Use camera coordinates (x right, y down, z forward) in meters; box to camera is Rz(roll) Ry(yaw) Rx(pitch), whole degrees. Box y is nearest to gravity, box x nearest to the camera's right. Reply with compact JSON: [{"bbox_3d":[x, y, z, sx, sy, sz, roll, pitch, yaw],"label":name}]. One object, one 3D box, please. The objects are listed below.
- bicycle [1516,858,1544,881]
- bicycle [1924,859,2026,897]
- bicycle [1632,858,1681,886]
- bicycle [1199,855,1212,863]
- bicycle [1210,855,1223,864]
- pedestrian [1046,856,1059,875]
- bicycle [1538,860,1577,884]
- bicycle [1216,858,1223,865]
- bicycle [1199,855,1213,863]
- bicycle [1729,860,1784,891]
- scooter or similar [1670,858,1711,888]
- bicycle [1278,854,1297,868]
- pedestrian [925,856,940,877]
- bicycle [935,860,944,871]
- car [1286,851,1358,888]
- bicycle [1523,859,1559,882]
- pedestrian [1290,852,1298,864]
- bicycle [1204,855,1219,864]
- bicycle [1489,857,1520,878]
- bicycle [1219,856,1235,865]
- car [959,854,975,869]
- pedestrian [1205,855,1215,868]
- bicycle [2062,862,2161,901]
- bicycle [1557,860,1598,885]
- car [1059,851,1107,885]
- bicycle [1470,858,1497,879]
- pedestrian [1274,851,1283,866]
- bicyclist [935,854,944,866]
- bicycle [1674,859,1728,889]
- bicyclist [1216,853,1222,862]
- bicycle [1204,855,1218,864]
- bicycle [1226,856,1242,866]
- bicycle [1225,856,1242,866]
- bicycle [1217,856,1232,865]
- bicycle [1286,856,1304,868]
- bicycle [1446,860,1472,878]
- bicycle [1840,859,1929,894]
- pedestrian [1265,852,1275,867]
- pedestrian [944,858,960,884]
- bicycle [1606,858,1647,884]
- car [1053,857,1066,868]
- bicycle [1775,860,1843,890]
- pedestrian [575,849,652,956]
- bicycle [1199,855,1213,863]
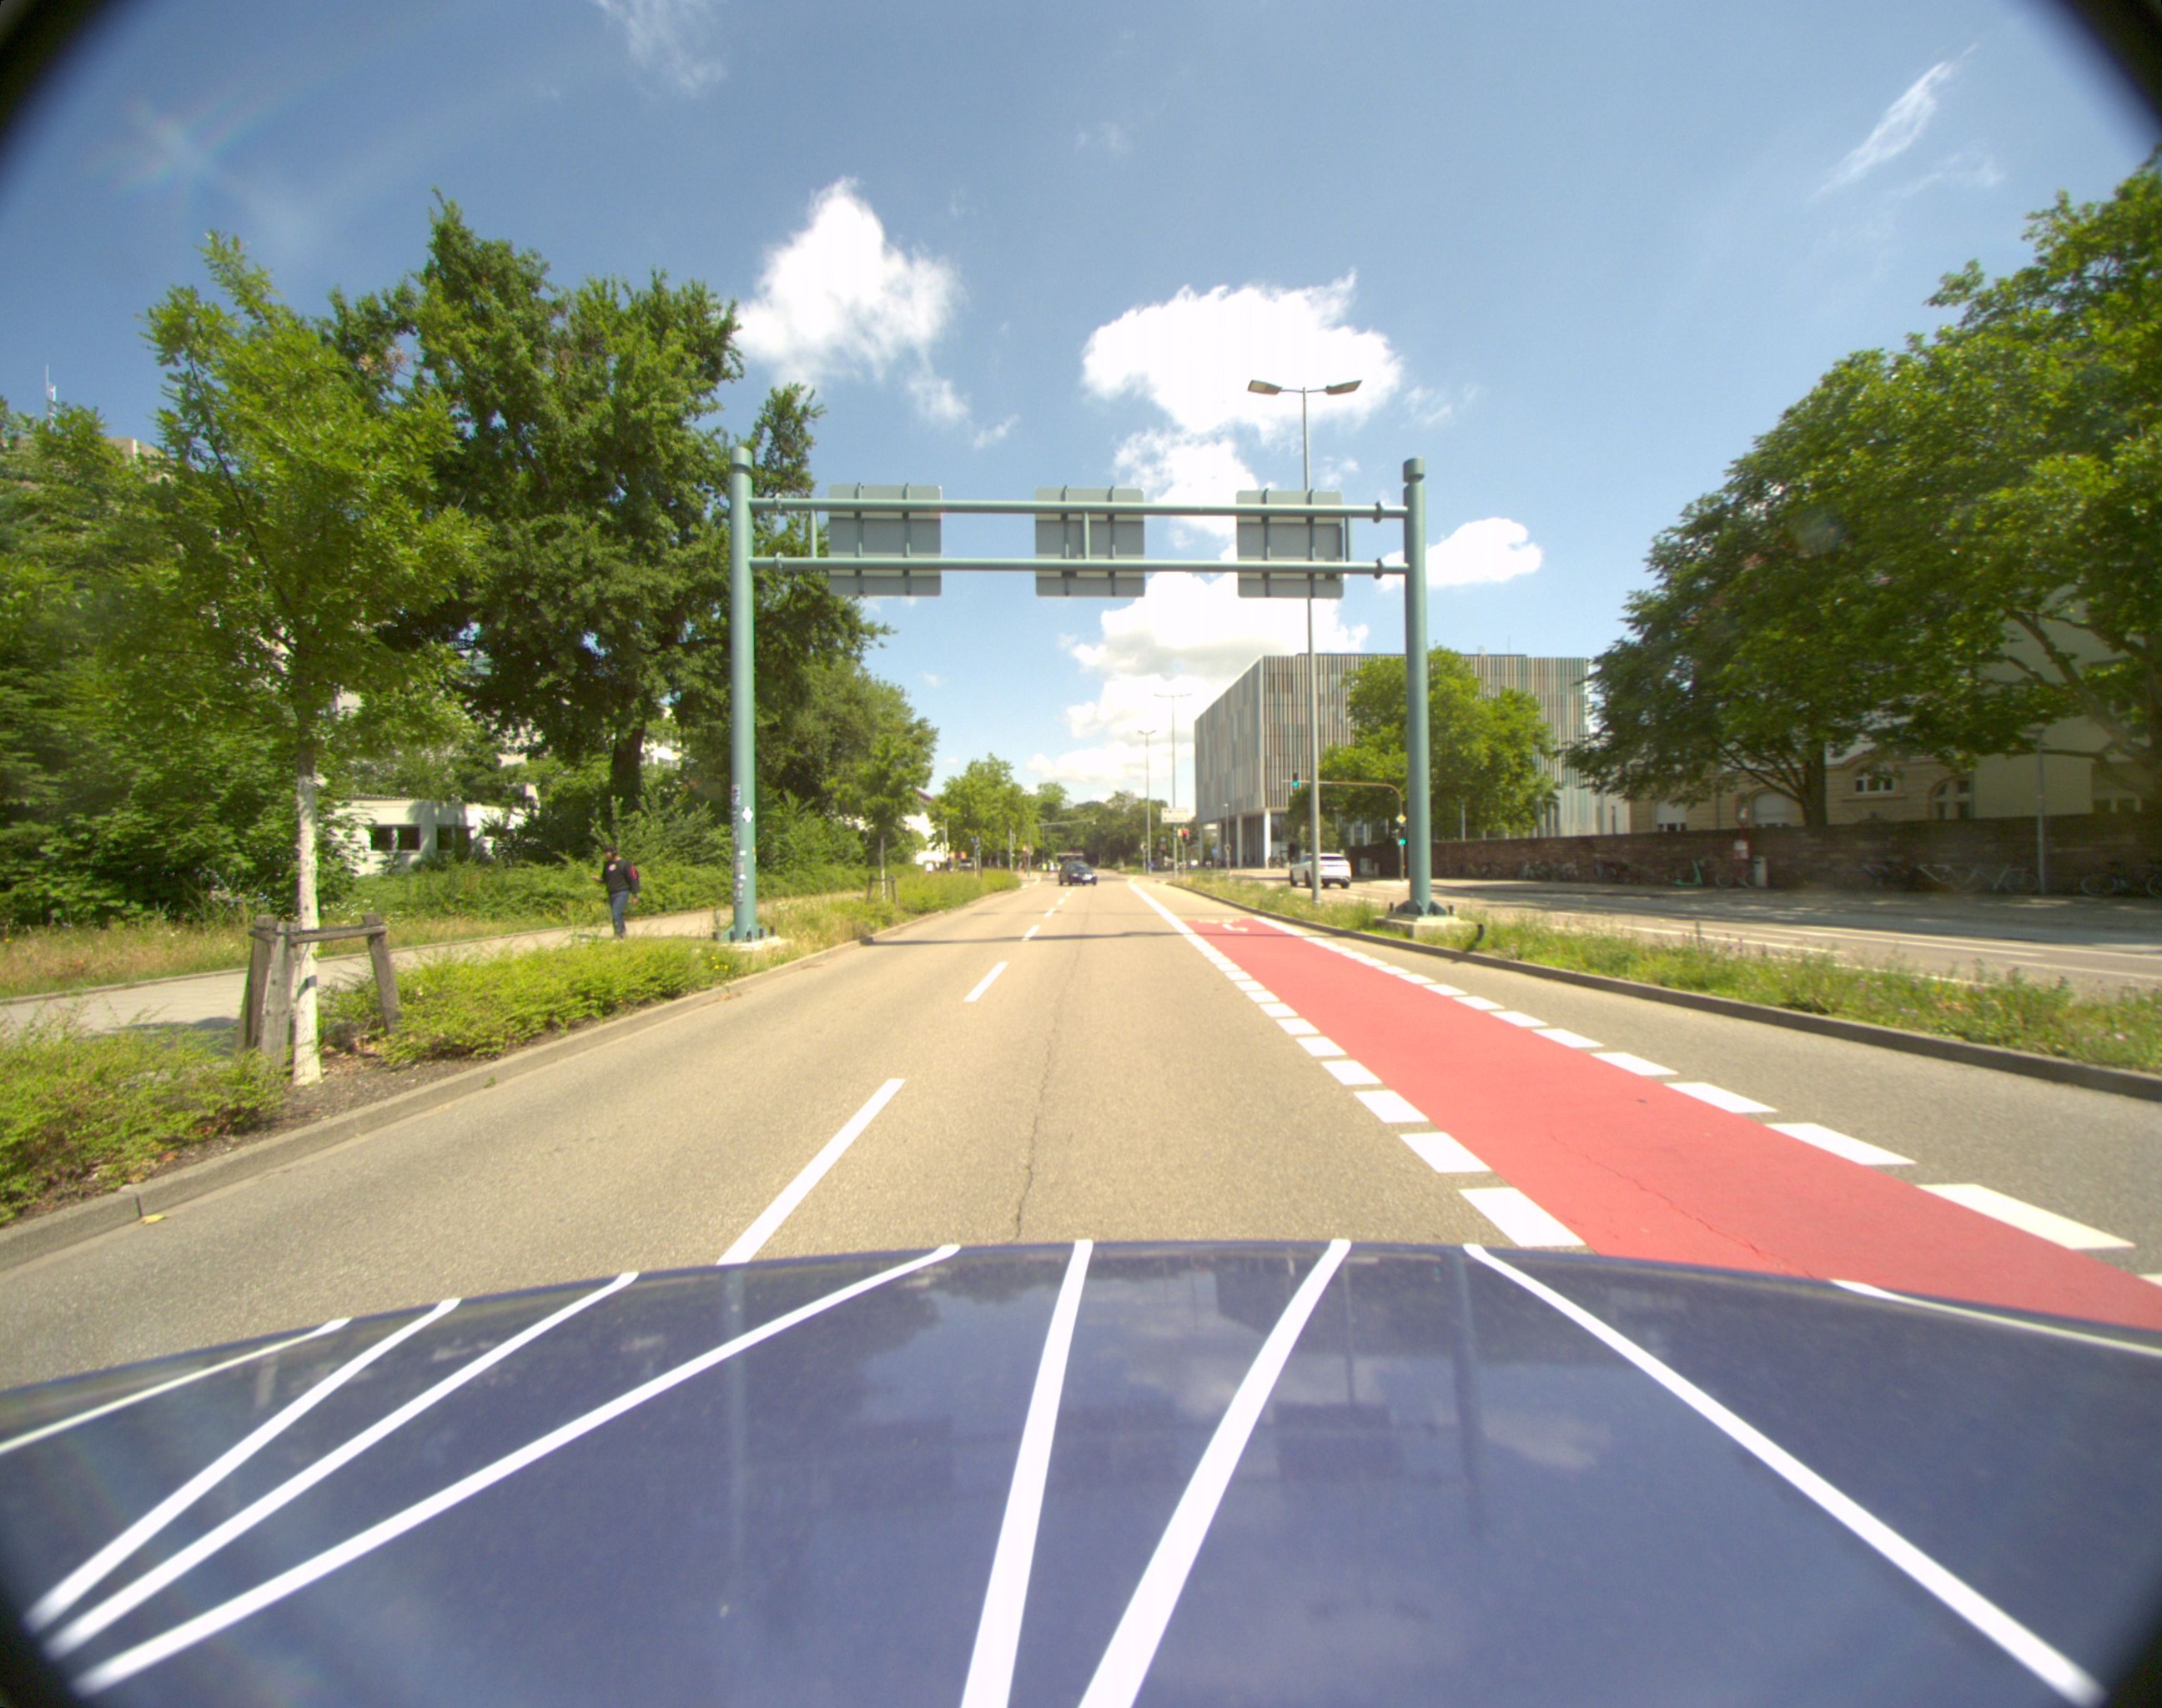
[{"bbox_3d":[23.396,0.805,39.596,0.413,1.145,1.593,-1,0,-5],"label":"bicycle"},{"bbox_3d":[25.942,0.686,22.105,0.545,1.041,1.894,-1,0,-11],"label":"bicycle"},{"bbox_3d":[24.084,0.759,31.847,0.534,1.145,1.591,-1,0,-21],"label":"bicycle"},{"bbox_3d":[23.206,1.007,141.967,2.302,1.486,0.657,-1,0,1],"label":"bicycle"},{"bbox_3d":[23.626,1.018,132.608,2.071,1.486,0.621,-1,0,1],"label":"bicycle"},{"bbox_3d":[-2.953,1.161,78.860,1.108,1.914,0.972,-1,0,6],"label":"pedestrian"},{"bbox_3d":[23.207,0.869,37.040,0.403,1.145,1.590,-1,0,-32],"label":"bicycle"},{"bbox_3d":[18.936,0.990,103.818,0.647,0.992,2.163,-1,0,0],"label":"bicycle"},{"bbox_3d":[22.998,0.966,139.980,2.511,1.486,0.621,-1,0,1],"label":"bicycle"},{"bbox_3d":[24.947,0.779,28.086,0.433,1.136,1.593,-1,0,-12],"label":"bicycle"},{"bbox_3d":[23.902,0.742,29.809,0.433,1.145,1.191,-1,0,-20],"label":"scooter or similar"},{"bbox_3d":[26.605,0.895,97.875,0.808,1.634,3.422,-1,0,42],"label":"bicycle"},{"bbox_3d":[-13.653,1.150,69.687,0.876,1.861,0.974,-1,1,35],"label":"pedestrian"},{"bbox_3d":[-17.088,1.356,91.764,0.885,1.244,2.164,-1,0,-8],"label":"bicycle"},{"bbox_3d":[11.509,0.724,36.682,2.076,1.657,4.776,-1,0,2],"label":"car"},{"bbox_3d":[23.128,0.812,38.244,0.403,1.145,1.591,-1,0,-22],"label":"bicycle"},{"bbox_3d":[30.983,0.607,110.676,1.012,1.697,1.212,-1,0,19],"label":"pedestrian"},{"bbox_3d":[23.213,1.003,135.172,2.511,1.486,0.621,-1,0,1],"label":"bicycle"},{"bbox_3d":[23.036,0.730,41.340,0.623,1.145,1.593,-1,0,-8],"label":"bicycle"},{"bbox_3d":[23.692,1.096,123.175,2.511,1.486,0.621,-1,0,1],"label":"bicycle"},{"bbox_3d":[-15.816,1.020,105.531,2.000,2.042,4.226,-1,0,-8],"label":"car"},{"bbox_3d":[16.282,0.963,96.202,0.972,1.619,0.878,-1,0,-9],"label":"pedestrian"},{"bbox_3d":[26.436,0.688,19.375,0.545,0.944,1.664,-1,0,-11],"label":"bicycle"},{"bbox_3d":[23.434,0.876,35.858,0.403,1.145,1.590,-1,0,-32],"label":"bicycle"},{"bbox_3d":[0.073,0.826,47.286,2.001,2.002,3.995,-1,0,-15],"label":"car"},{"bbox_3d":[22.749,0.803,42.946,0.500,1.145,1.593,-1,0,-8],"label":"bicycle"},{"bbox_3d":[25.518,0.589,98.220,0.969,1.914,0.880,-1,1,27],"label":"pedestrian"},{"bbox_3d":[-17.081,0.702,91.650,0.972,1.436,1.076,-1,0,-8],"label":"bicyclist"},{"bbox_3d":[24.561,0.767,30.107,0.534,1.145,1.591,-1,0,-21],"label":"bicycle"},{"bbox_3d":[18.928,0.516,103.889,0.618,1.219,0.833,-1,0,-3],"label":"bicyclist"},{"bbox_3d":[23.525,0.980,137.353,2.330,1.486,0.621,-1,0,1],"label":"bicycle"},{"bbox_3d":[24.276,1.109,120.493,2.509,1.486,0.730,-1,0,10],"label":"bicycle"},{"bbox_3d":[23.988,1.123,119.488,2.451,1.486,0.621,-1,0,1],"label":"bicycle"},{"bbox_3d":[23.846,1.068,126.271,2.200,1.486,0.621,-1,0,1],"label":"bicycle"},{"bbox_3d":[27.372,0.973,97.142,2.693,1.485,0.930,-1,0,-44],"label":"bicycle"},{"bbox_3d":[22.435,0.881,45.109,0.573,1.092,1.593,-1,0,-8],"label":"bicycle"},{"bbox_3d":[25.608,0.697,24.262,0.545,1.041,1.948,-1,0,-11],"label":"bicycle"},{"bbox_3d":[23.724,0.670,95.308,0.969,1.914,0.880,-1,1,30],"label":"pedestrian"},{"bbox_3d":[-8.665,1.117,51.112,0.815,1.711,0.929,-1,0,2],"label":"pedestrian"},{"bbox_3d":[24.058,0.740,33.530,0.403,1.145,1.593,-1,0,-11],"label":"bicycle"},{"bbox_3d":[-3.432,1.322,120.668,1.913,1.772,3.999,-1,0,-3],"label":"car"},{"bbox_3d":[25.242,0.712,26.382,0.482,1.002,1.800,-1,0,-8],"label":"bicycle"},{"bbox_3d":[-7.778,0.789,12.669,0.718,1.711,0.837,-1,1,2],"label":"pedestrian"},{"bbox_3d":[23.108,0.958,140.680,2.511,1.486,0.621,-1,0,1],"label":"bicycle"}]
